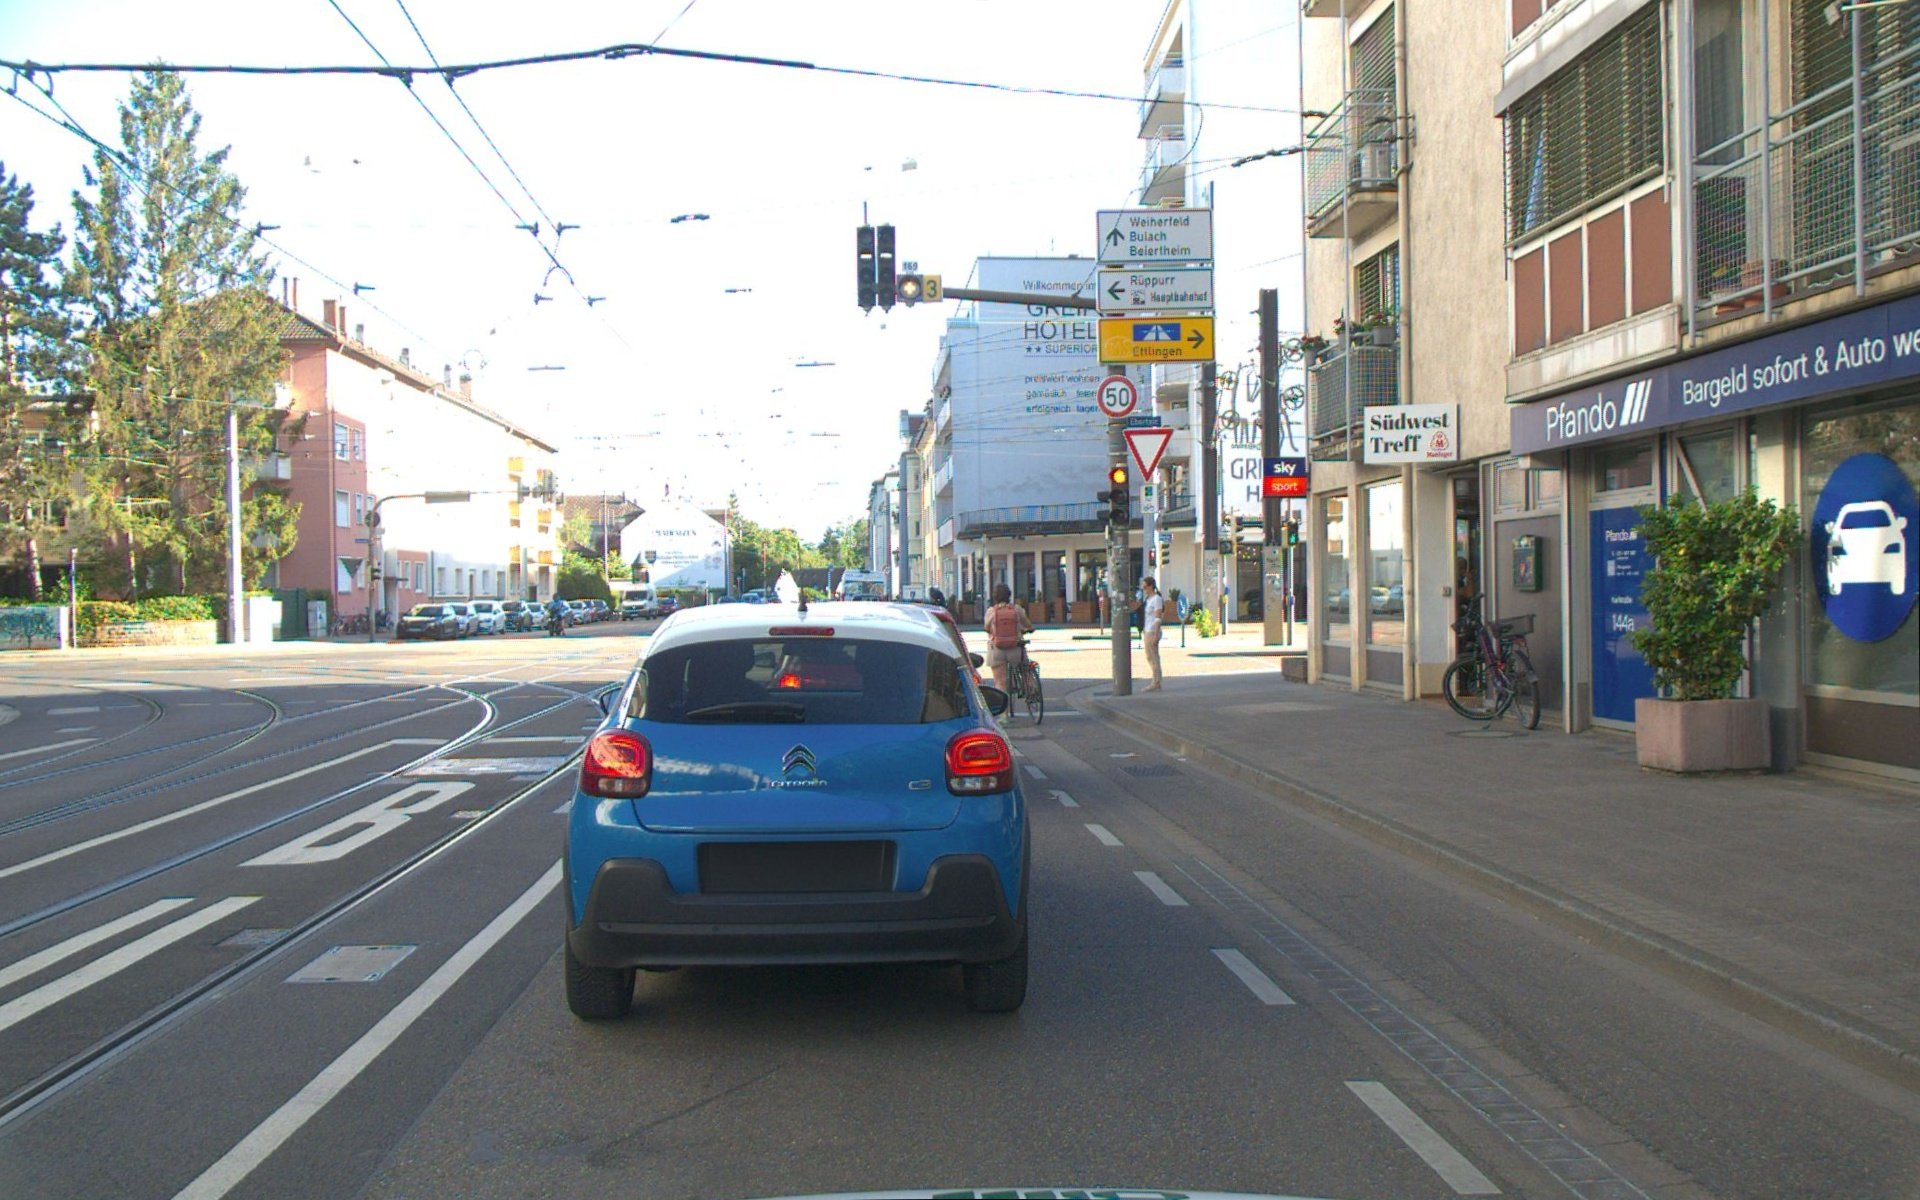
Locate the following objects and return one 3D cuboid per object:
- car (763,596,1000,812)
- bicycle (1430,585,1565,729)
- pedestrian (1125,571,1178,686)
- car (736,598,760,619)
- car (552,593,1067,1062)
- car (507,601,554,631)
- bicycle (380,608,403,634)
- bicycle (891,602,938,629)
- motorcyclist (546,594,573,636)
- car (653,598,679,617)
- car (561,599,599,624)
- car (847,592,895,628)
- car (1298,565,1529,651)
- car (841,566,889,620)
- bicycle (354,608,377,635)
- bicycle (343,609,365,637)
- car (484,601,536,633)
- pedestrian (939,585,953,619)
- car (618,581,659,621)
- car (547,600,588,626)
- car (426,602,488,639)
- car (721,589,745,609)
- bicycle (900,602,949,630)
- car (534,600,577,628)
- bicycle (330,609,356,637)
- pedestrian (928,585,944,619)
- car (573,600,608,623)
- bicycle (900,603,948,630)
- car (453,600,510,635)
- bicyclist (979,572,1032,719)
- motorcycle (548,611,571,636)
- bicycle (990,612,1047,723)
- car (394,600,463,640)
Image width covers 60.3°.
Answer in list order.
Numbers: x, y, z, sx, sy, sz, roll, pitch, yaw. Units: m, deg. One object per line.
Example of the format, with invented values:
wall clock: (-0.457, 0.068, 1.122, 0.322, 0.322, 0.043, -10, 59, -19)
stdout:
car: (-0.686, 0.726, 13.565, 1.647, 1.488, 3.997, 1, 0, -4)
bicycle: (5.106, 0.504, 15.825, 0.627, 1.286, 1.910, -1, 0, -1)
pedestrian: (2.819, 0.411, 24.414, 0.735, 1.663, 0.740, -1, 0, 5)
car: (-21.816, 0.815, 170.499, 2.293, 2.074, 5.044, -1, 0, -6)
car: (-0.619, 0.730, 7.356, 1.647, 1.488, 3.997, 1, 0, -4)
car: (-23.769, 0.859, 91.574, 1.913, 1.545, 3.995, -1, 0, -6)
bicycle: (-25.678, 0.944, 74.699, 0.597, 1.101, 1.908, -1, 0, -7)
bicycle: (-1.866, 0.643, 68.277, 1.868, 1.083, 0.641, -1, 0, -8)
motorcyclist: (-16.211, 0.609, 66.959, 0.973, 1.659, 0.737, -1, 0, -10)
car: (-25.579, 0.650, 144.172, 1.913, 1.545, 3.995, -1, 0, -6)
car: (-24.856, 0.754, 108.269, 1.913, 1.545, 3.995, -1, 0, -6)
car: (-3.682, 0.385, 67.746, 1.752, 1.383, 3.909, -1, 0, -6)
car: (9.707, 0.160, 35.587, 4.446, 1.713, 1.790, -1, 0, -5)
car: (-4.237, -0.316, 73.184, 2.039, 2.309, 5.646, 0, 0, -4)
bicycle: (-25.880, 0.930, 71.993, 0.527, 1.101, 1.908, -1, 0, -7)
bicycle: (-24.594, 0.931, 67.123, 0.527, 1.101, 1.905, -1, 0, -11)
car: (-23.239, 0.843, 85.525, 1.913, 1.545, 3.995, -1, 0, -6)
pedestrian: (-0.591, 0.085, 69.999, 0.459, 1.445, 0.525, -1, 0, -13)
car: (-23.229, 0.073, 119.583, 2.446, 2.759, 5.828, -1, 0, -7)
car: (-24.414, 0.812, 102.996, 1.913, 1.545, 3.995, -1, 0, -6)
car: (-22.560, 0.879, 74.262, 1.913, 1.545, 4.040, -1, 0, -6)
car: (-19.467, -0.071, 142.209, 1.967, 1.656, 5.044, -1, 0, -8)
bicycle: (-1.399, 0.641, 65.786, 1.868, 1.083, 0.641, -1, 0, -8)
car: (-23.940, 0.827, 97.999, 1.913, 1.545, 3.995, -1, 0, -6)
bicycle: (-24.988, 0.921, 66.998, 0.628, 1.101, 1.905, -1, 0, -11)
pedestrian: (-1.016, 0.091, 70.244, 0.514, 1.445, 0.547, -1, 0, 19)
car: (-25.572, 0.793, 114.600, 1.913, 1.545, 3.995, -1, 0, -6)
bicycle: (-1.452, 0.666, 67.090, 1.868, 1.083, 0.641, -1, 0, -8)
car: (-22.762, 0.823, 78.868, 1.913, 1.545, 3.995, -1, 0, -6)
bicyclist: (0.561, 0.551, 20.602, 0.588, 1.776, 1.084, -1, 0, -1)
motorcycle: (-16.231, 0.942, 67.027, 0.738, 0.993, 2.092, -1, 0, -9)
bicycle: (0.714, 0.813, 20.642, 0.601, 1.286, 1.910, -1, 0, -1)
car: (-22.020, 0.793, 68.657, 1.913, 1.545, 3.995, -1, 0, -6)
